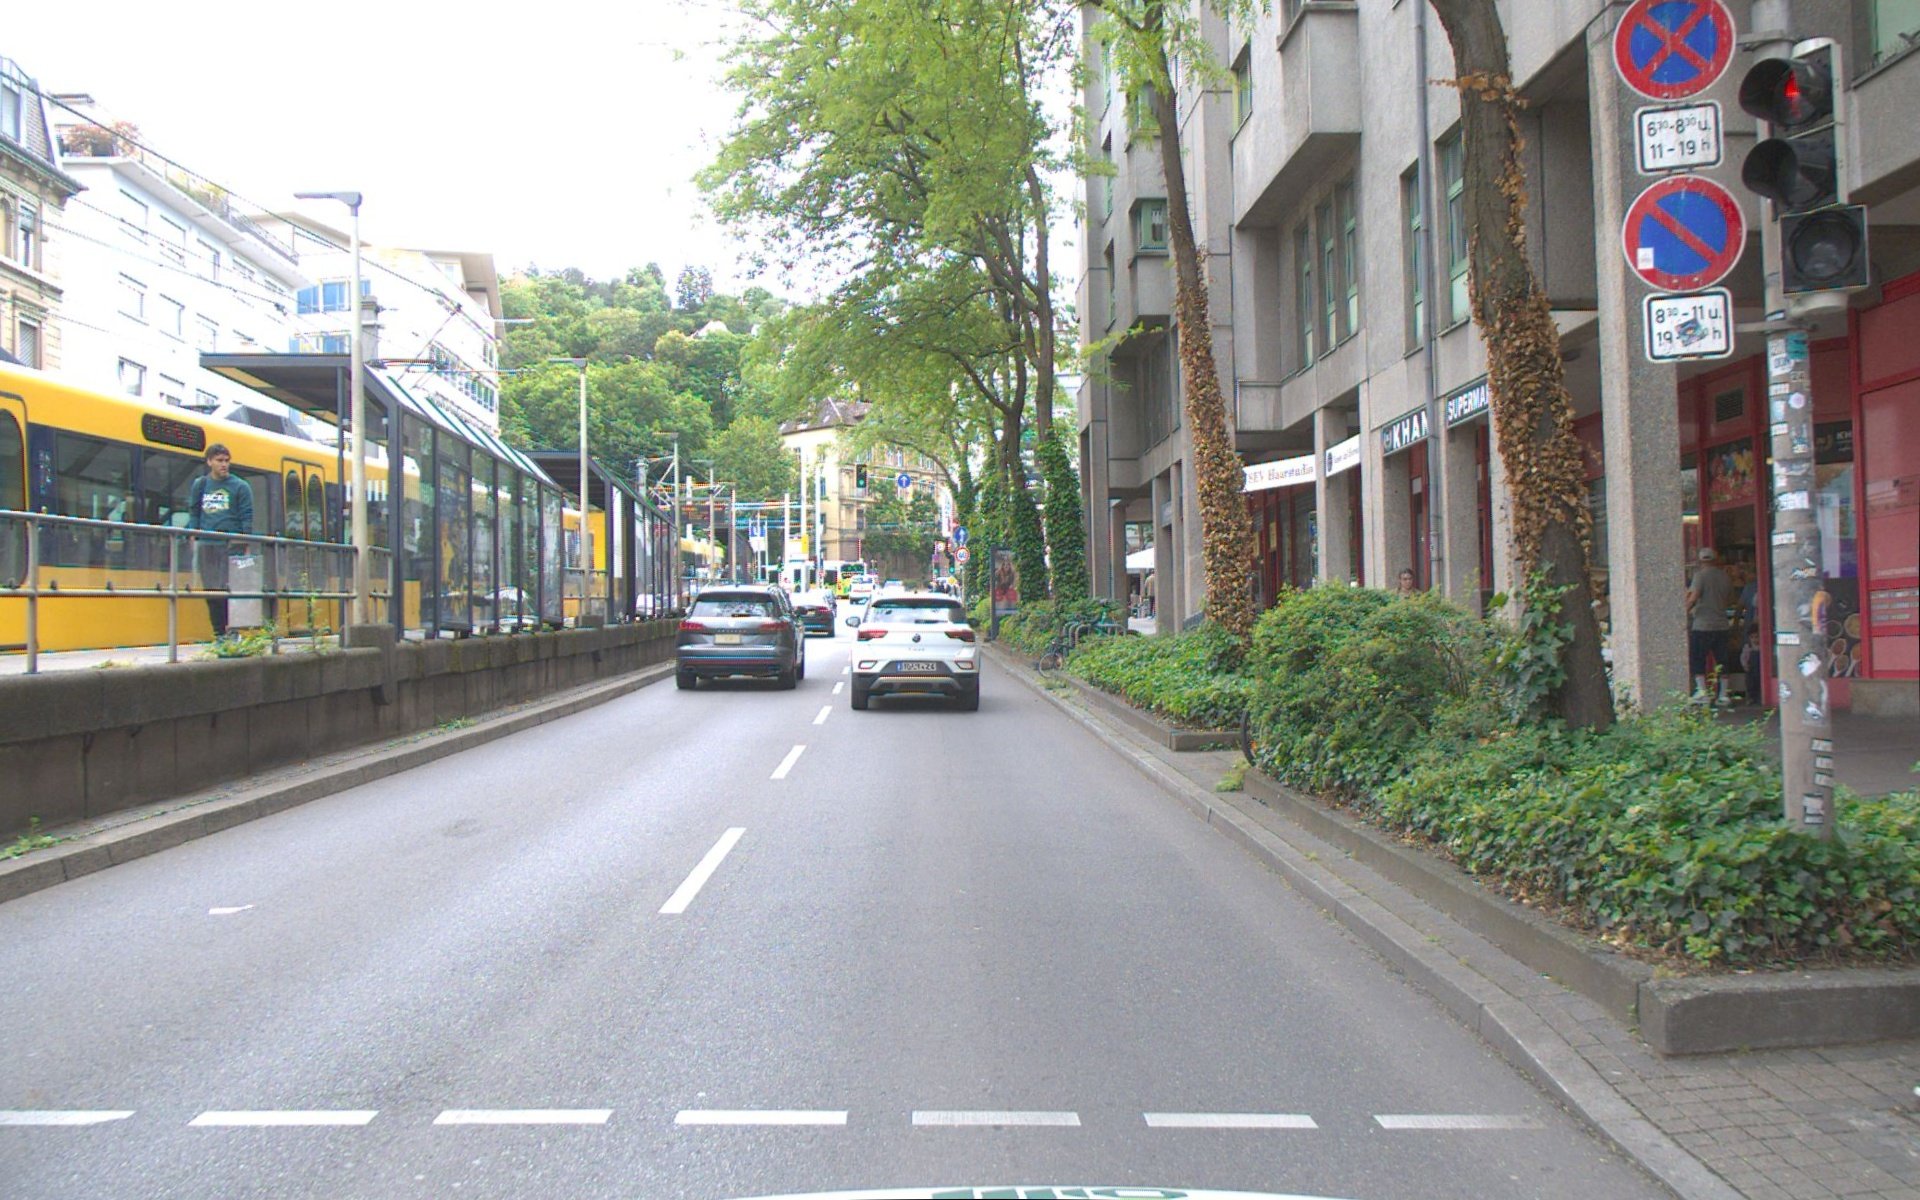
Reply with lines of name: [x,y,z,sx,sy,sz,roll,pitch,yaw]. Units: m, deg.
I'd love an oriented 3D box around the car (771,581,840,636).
car: [-5.075,0.265,54.750,1.873,1.719,4.000,1,0,0]

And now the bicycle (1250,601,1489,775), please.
bicycle: [3.090,0.649,12.502,1.676,1.204,0.447,-2,-1,-10]

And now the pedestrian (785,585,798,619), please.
pedestrian: [-10.313,0.116,101.255,0.746,2.049,0.838,1,-2,-2]

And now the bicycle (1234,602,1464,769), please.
bicycle: [3.041,0.653,12.952,1.676,1.204,0.447,-2,-1,-10]

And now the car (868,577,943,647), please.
car: [-1.432,0.367,43.026,1.847,1.713,4.158,1,-2,-3]

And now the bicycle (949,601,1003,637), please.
bicycle: [0.588,0.696,60.153,1.840,1.288,0.765,0,-2,9]

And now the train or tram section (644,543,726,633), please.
train or tram section: [-12.010,-0.469,72.748,2.757,3.731,6.746,1,-1,-3]

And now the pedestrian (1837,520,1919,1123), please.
pedestrian: [2.947,0.586,4.371,0.819,1.590,0.763,1,-2,-6]

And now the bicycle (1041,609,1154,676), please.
bicycle: [2.443,0.757,29.458,1.878,1.095,0.612,-3,-1,-5]

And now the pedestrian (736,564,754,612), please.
pedestrian: [-9.524,-0.525,73.311,0.748,2.049,0.836,1,-2,-9]

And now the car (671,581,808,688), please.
car: [-3.627,0.540,27.841,1.954,1.664,3.998,0,0,-3]

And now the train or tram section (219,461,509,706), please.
train or tram section: [-9.562,-0.204,27.246,2.778,3.583,5.749,1,-1,-2]

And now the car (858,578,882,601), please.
car: [-7.270,-0.834,133.565,1.847,1.713,4.159,1,-2,-2]

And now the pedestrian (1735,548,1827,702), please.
pedestrian: [8.974,0.257,18.100,0.603,1.640,0.765,-2,1,2]

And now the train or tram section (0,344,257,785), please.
train or tram section: [-9.261,-0.276,15.716,2.778,3.583,5.749,1,-1,-2]

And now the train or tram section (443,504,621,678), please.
train or tram section: [-9.884,-0.160,38.838,2.756,3.731,5.900,1,-1,-2]

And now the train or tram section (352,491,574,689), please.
train or tram section: [-9.722,-0.144,33.001,2.778,3.583,5.749,1,-1,-2]

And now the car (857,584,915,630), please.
car: [-2.958,0.298,65.595,1.850,1.713,4.152,1,-2,-9]

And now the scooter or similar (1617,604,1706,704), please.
scooter or similar: [8.235,0.633,19.450,0.745,1.129,0.859,-2,-2,11]

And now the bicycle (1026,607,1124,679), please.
bicycle: [1.953,0.729,28.218,1.587,1.147,0.613,-3,-1,1]

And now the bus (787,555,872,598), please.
bus: [-11.432,-1.944,143.331,3.326,3.119,13.229,1,-2,-23]

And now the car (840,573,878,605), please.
car: [-7.188,-0.766,118.445,2.316,2.049,5.148,1,-2,1]

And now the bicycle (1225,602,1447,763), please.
bicycle: [3.048,0.656,13.430,1.676,1.204,0.447,-2,-1,-10]

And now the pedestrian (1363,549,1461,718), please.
pedestrian: [5.047,0.356,18.501,0.747,1.814,0.847,-2,1,-7]

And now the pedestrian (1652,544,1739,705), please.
pedestrian: [8.288,0.273,18.664,0.746,1.753,0.677,-3,-1,18]

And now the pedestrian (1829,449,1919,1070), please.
pedestrian: [3.070,0.470,4.920,0.508,1.820,0.763,1,-2,-6]

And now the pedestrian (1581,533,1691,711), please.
pedestrian: [7.219,0.222,17.689,0.815,1.834,0.723,-2,1,-2]

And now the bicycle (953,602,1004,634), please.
bicycle: [0.701,0.680,61.651,1.841,1.157,0.808,0,-2,4]

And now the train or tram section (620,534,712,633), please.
train or tram section: [-11.629,-0.597,66.004,2.757,3.731,6.746,1,-1,-3]

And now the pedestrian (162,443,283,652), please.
pedestrian: [-6.365,-0.435,14.305,0.703,1.761,0.670,1,-2,-1]

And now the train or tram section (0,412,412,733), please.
train or tram section: [-9.423,-0.276,21.467,2.778,3.583,5.749,1,-1,-2]

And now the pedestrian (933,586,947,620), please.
pedestrian: [-1.212,0.165,100.495,0.746,2.049,0.838,0,-2,3]

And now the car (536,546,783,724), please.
car: [-3.771,0.478,21.825,2.316,2.049,5.147,1,-2,0]

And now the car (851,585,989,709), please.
car: [-0.642,0.609,23.678,1.801,1.611,4.154,0,0,-3]
